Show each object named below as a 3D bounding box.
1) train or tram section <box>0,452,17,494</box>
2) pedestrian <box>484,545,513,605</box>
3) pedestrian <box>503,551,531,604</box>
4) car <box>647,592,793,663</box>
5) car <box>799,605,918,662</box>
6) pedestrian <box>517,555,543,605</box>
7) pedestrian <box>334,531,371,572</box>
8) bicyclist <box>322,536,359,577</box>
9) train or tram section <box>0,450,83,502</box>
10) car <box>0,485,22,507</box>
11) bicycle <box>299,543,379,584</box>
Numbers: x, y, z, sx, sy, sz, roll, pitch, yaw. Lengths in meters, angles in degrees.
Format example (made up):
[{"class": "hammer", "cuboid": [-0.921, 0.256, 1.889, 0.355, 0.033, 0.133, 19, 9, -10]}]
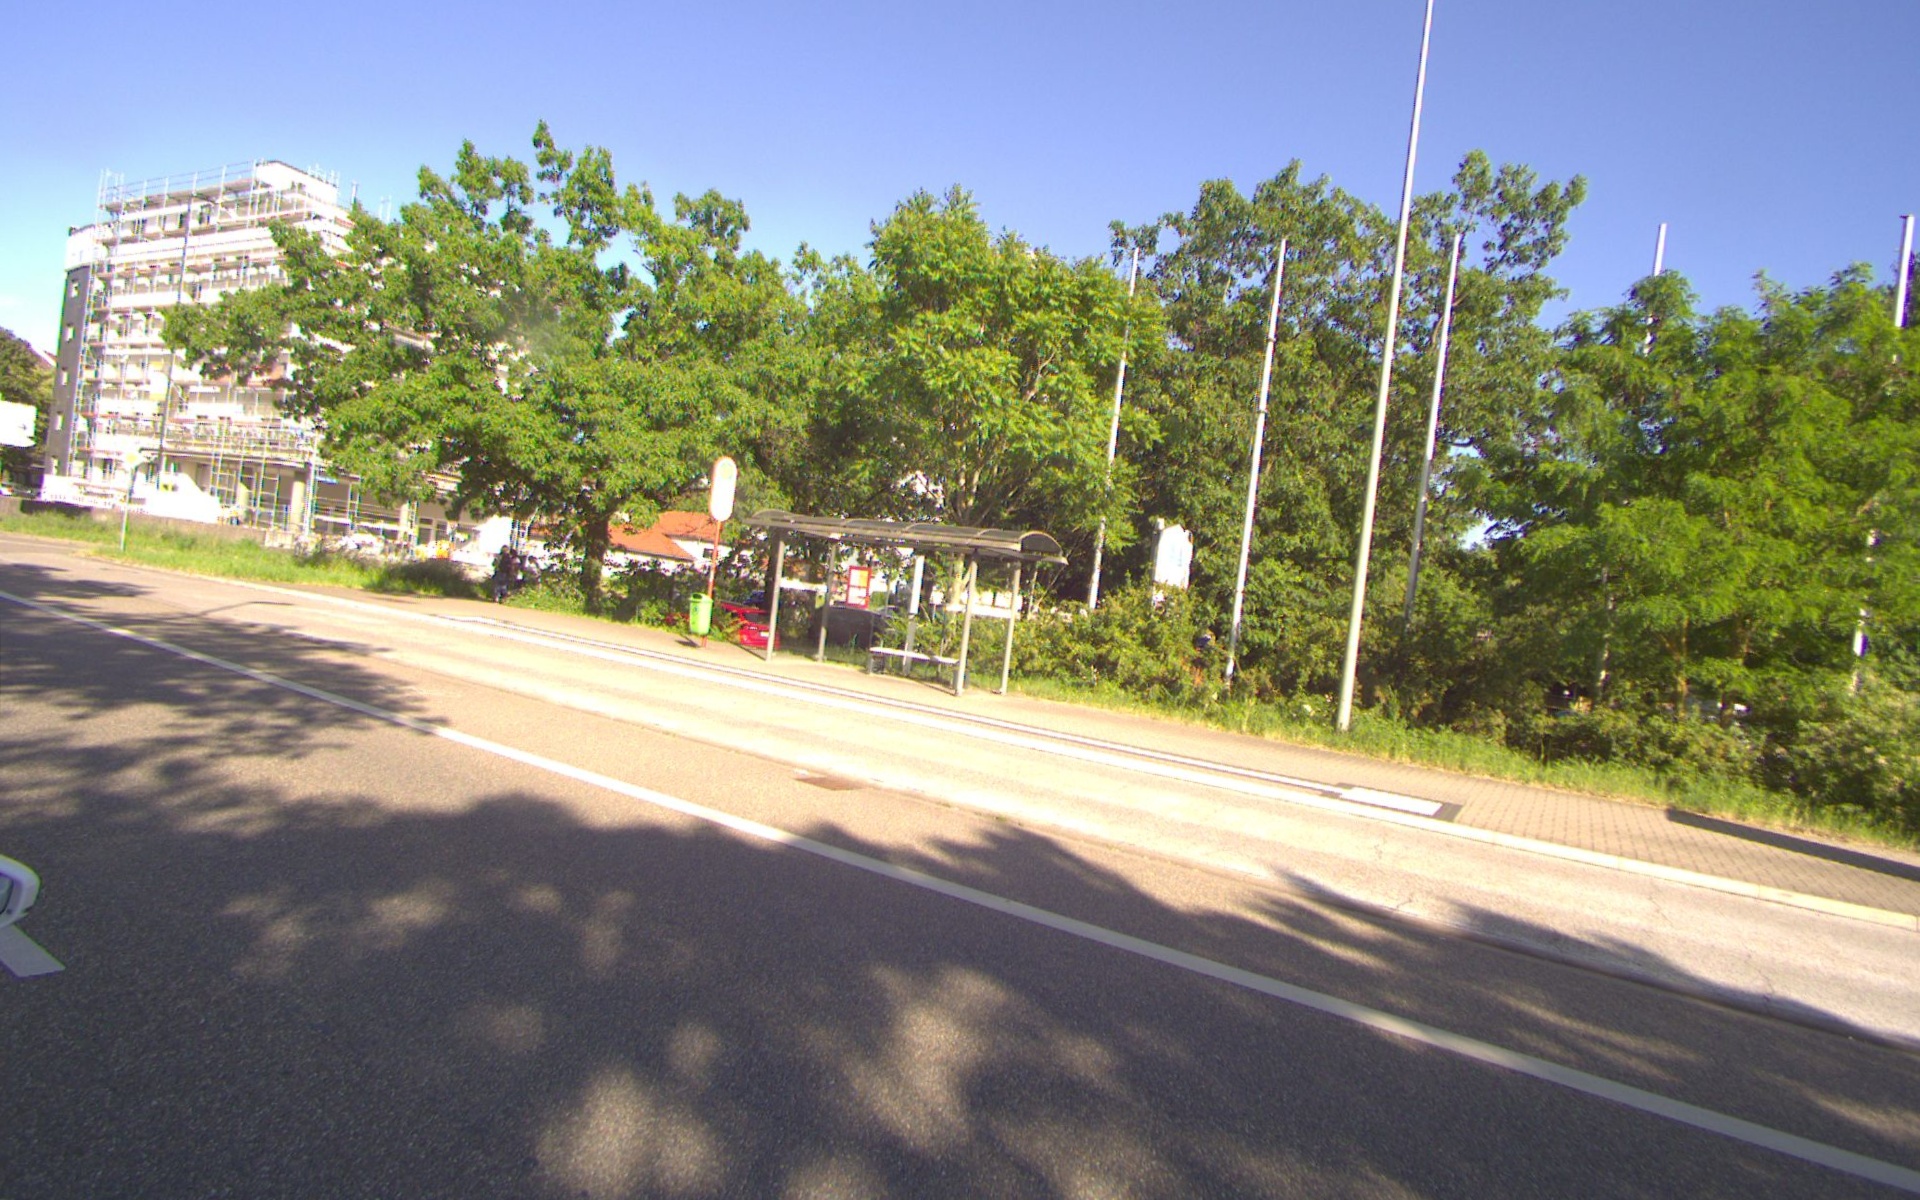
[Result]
[{"class": "train or tram section", "cuboid": [-84.067, -11.287, 82.745, 3.265, 3.555, 19.265, 7, 0, -25]}, {"class": "pedestrian", "cuboid": [-13.023, -0.703, 28.372, 0.517, 1.632, 0.587, 7, 1, -32]}, {"class": "pedestrian", "cuboid": [-12.815, -0.649, 29.078, 0.517, 1.465, 0.587, 7, 1, -32]}, {"class": "car", "cuboid": [-6.875, 0.793, 28.745, 3.680, 1.504, 1.755, 7, 0, 28]}, {"class": "car", "cuboid": [-3.590, 1.196, 35.979, 3.674, 1.504, 1.914, 7, 0, 13]}, {"class": "pedestrian", "cuboid": [-13.403, -0.633, 31.328, 0.517, 1.465, 0.587, 7, 1, -32]}, {"class": "pedestrian", "cuboid": [-27.643, -2.187, 45.793, 0.969, 1.674, 0.891, 7, 0, 2]}, {"class": "bicyclist", "cuboid": [-24.189, -1.692, 39.300, 0.731, 1.454, 0.844, 6, -1, 32]}, {"class": "train or tram section", "cuboid": [-89.801, -11.942, 95.711, 3.264, 3.816, 20.689, 7, 0, -24]}, {"class": "car", "cuboid": [-66.548, -7.265, 69.999, 1.521, 1.330, 3.250, 7, 0, -40]}, {"class": "bicycle", "cuboid": [-24.228, -1.408, 39.315, 0.699, 1.212, 2.516, 6, -2, 32]}]
